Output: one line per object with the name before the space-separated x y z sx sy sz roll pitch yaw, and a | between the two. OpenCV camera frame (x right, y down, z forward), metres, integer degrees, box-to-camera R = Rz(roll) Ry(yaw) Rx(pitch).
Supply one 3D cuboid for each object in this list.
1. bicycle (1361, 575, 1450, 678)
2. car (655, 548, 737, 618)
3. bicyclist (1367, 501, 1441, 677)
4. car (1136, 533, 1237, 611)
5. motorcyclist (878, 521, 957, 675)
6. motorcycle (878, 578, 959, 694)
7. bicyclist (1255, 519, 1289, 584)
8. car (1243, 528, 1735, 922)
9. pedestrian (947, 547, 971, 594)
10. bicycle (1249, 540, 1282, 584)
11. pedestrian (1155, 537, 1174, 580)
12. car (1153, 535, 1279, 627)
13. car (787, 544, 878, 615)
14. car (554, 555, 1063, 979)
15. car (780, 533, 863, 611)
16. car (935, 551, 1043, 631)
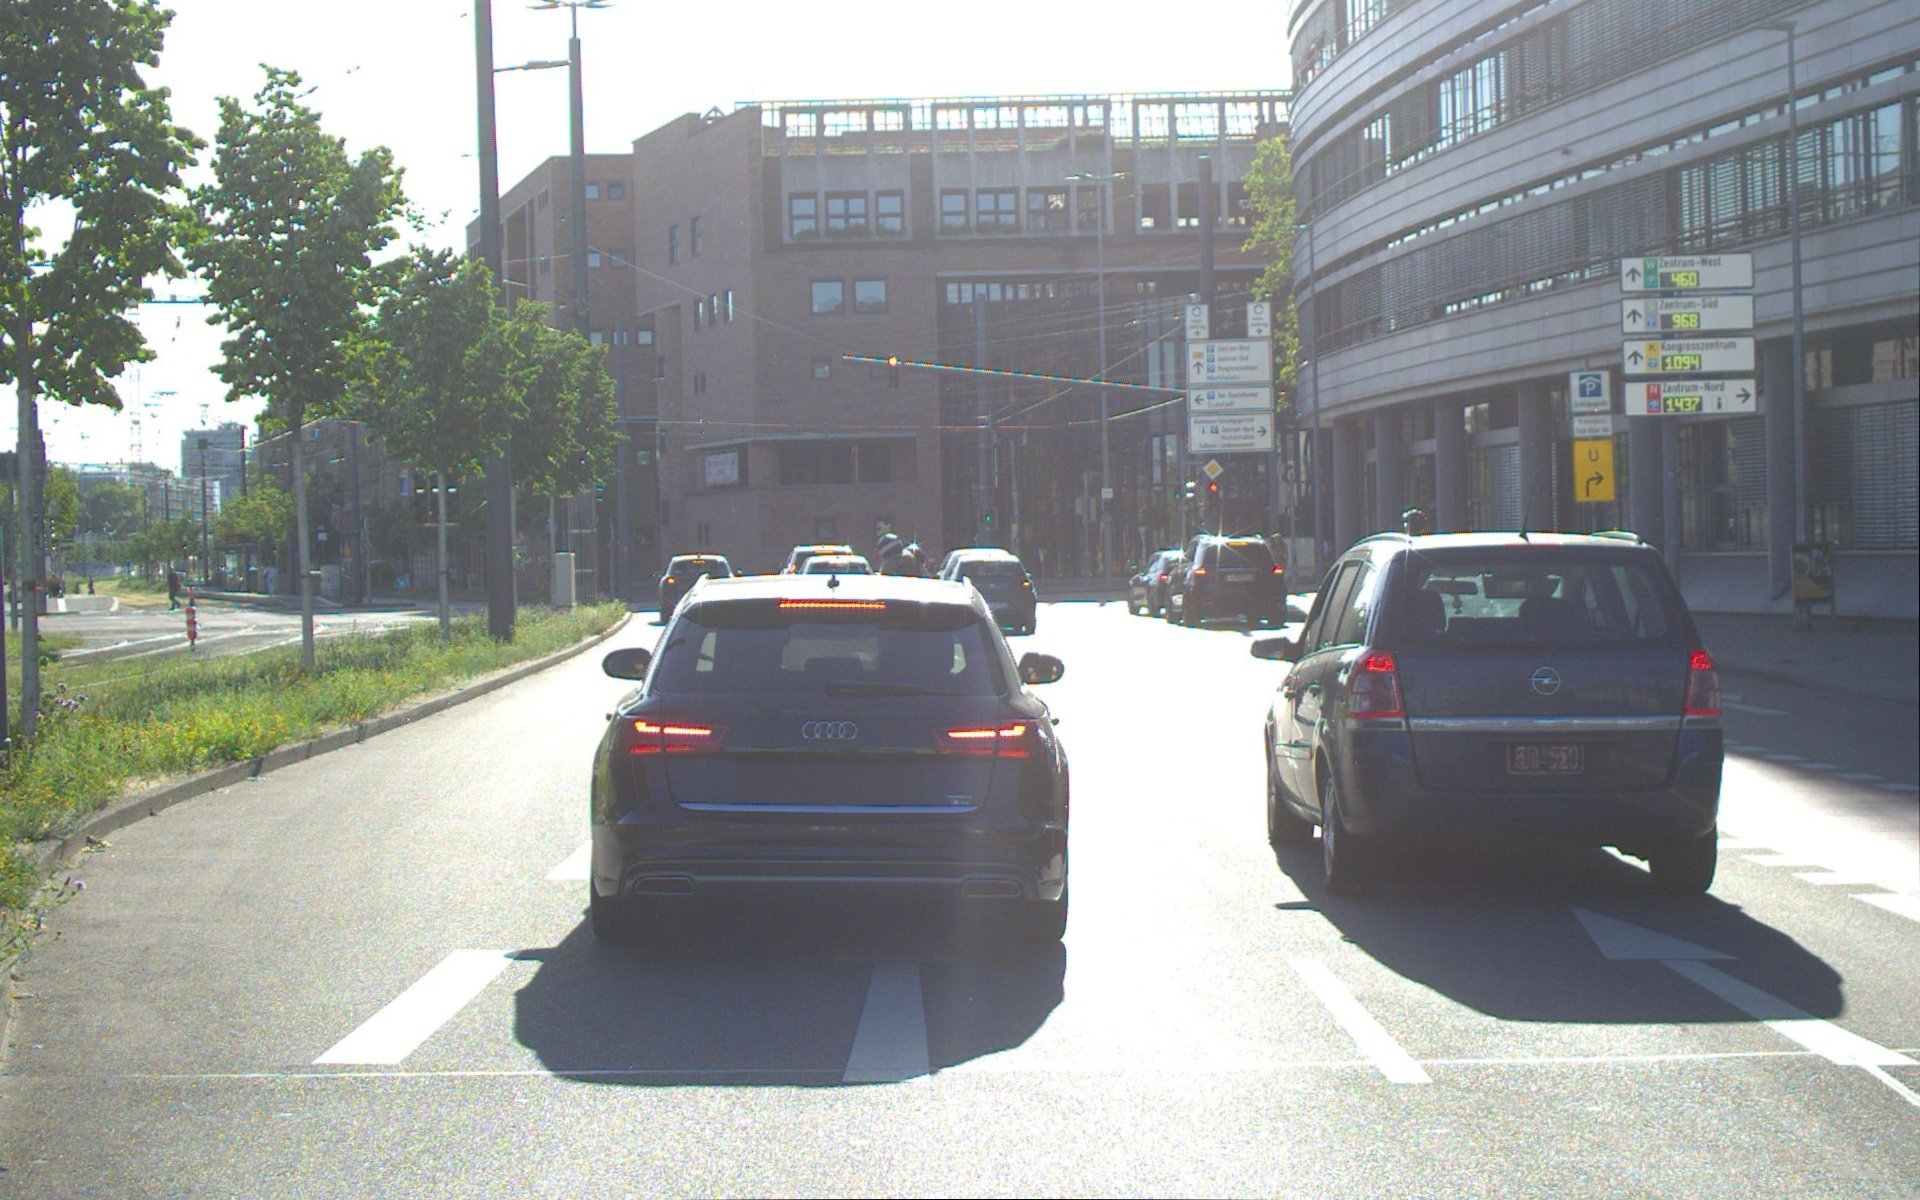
bicycle | 4.611 0.259 35.675 0.491 0.994 2.328 -2 1 -3
car | -5.737 -0.390 75.034 1.649 1.428 4.001 -1 1 -3
bicyclist | 4.598 -0.120 35.652 0.577 1.785 0.864 -2 1 -3
car | 5.014 -0.645 76.637 1.993 1.645 4.000 -1 1 1
motorcyclist | -0.429 -0.026 34.996 0.745 1.525 1.021 -2 1 0
motorcycle | -0.423 0.353 35.072 0.775 1.111 1.969 -2 1 -1
bicyclist | 7.957 -1.244 87.668 0.684 1.612 0.991 -1 1 12
car | 2.415 0.494 16.734 1.688 1.623 4.463 -1 1 0
pedestrian | -0.045 -1.121 130.436 0.707 1.753 0.560 -1 1 22
bicycle | 7.770 -0.972 87.391 0.504 1.054 1.701 -4 0 14
pedestrian | 6.889 -1.384 115.644 0.529 1.425 0.598 -2 1 -4
car | 5.118 -0.411 69.302 1.993 1.744 4.329 -2 1 -2
car | -2.563 -0.431 68.708 1.737 1.345 4.001 -1 1 -3
car | -0.601 0.571 14.563 1.811 1.487 4.496 1 1 -2
car | -3.070 -0.628 75.807 1.737 1.645 4.001 -1 1 -3
car | 0.525 -0.191 65.422 1.807 1.452 4.001 0 1 -3
